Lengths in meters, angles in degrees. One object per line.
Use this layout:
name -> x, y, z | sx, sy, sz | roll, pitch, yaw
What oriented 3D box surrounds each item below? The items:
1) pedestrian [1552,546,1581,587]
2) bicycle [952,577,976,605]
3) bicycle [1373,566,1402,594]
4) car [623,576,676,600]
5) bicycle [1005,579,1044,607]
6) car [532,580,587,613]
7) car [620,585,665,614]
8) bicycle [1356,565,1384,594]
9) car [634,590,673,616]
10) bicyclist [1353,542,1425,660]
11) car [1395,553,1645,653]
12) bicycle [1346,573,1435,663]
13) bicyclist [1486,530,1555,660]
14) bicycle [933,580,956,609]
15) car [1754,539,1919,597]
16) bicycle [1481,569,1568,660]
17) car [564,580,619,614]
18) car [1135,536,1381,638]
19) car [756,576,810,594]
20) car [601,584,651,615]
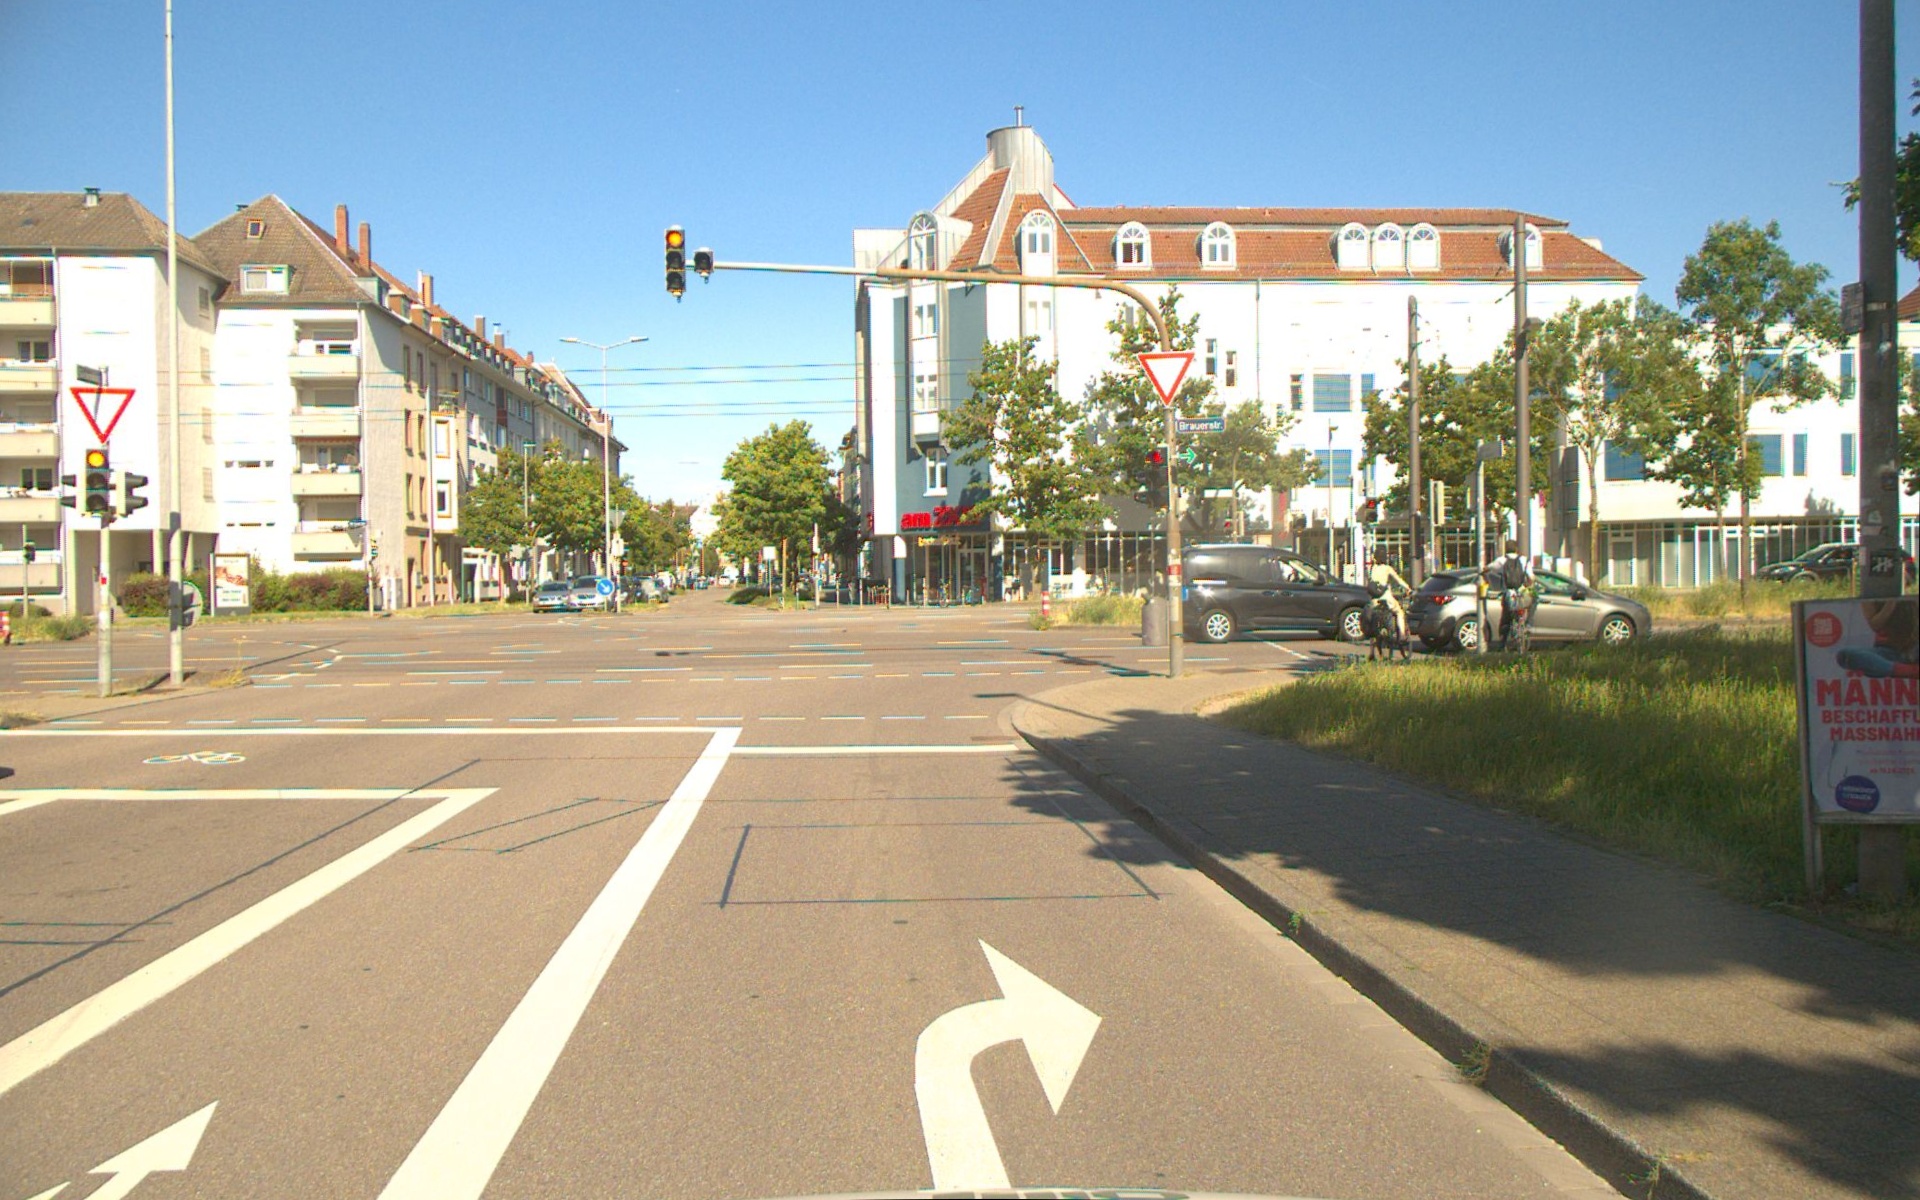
pedestrian -> 26.165, -1.458, 71.390 | 0.970, 1.753, 0.653 | -1, 1, -6
bicycle -> 0.133, -0.342, 62.345 | 0.464, 1.045, 1.509 | -2, 1, -17
bicycle -> 18.452, -0.864, 71.410 | 0.549, 1.203, 1.867 | -1, 1, -6
car -> -26.941, -1.046, 143.674 | 4.420, 2.049, 1.996 | 0, 0, -8
bicycle -> 2.505, -0.264, 64.302 | 1.479, 1.045, 0.473 | -1, 1, 6
car -> -18.887, -0.183, 78.102 | 1.654, 1.457, 4.398 | 1, 0, -2
car -> -16.838, -0.029, 87.831 | 1.654, 1.457, 4.398 | 1, 0, -2
bicycle -> 17.598, -0.874, 71.023 | 0.549, 1.203, 1.867 | -1, 1, -6
car -> -18.117, 0.137, 97.922 | 1.654, 1.457, 4.398 | 1, 0, -2
bicyclist -> 6.887, 0.007, 26.518 | 0.776, 1.856, 1.132 | -1, 1, 33
car -> 9.777, 0.049, 29.014 | 3.783, 1.605, 1.692 | 1, 0, -4
bicycle -> 6.949, 0.266, 26.630 | 0.776, 1.371, 2.073 | -1, 1, 32
bicyclist -> 8.838, -0.087, 26.073 | 0.776, 1.993, 1.008 | -1, 1, 33
bicycle -> -0.576, -0.212, 61.760 | 0.464, 1.045, 1.510 | -2, 1, -16
car -> 26.793, -0.973, 50.239 | 4.406, 1.637, 2.001 | -1, 1, 4
bicycle -> 8.988, 0.209, 26.283 | 0.776, 1.371, 2.257 | -1, 1, 32
car -> -16.676, -0.132, 74.943 | 1.654, 1.457, 4.398 | 1, 0, -2
car -> 5.771, -0.249, 32.275 | 4.395, 1.832, 1.763 | 1, 0, -5
car -> -12.194, -1.039, 114.028 | 3.507, 1.244, 1.724 | 0, 0, -14
car -> -16.562, -0.048, 82.185 | 1.654, 1.457, 4.399 | 1, 0, -1
